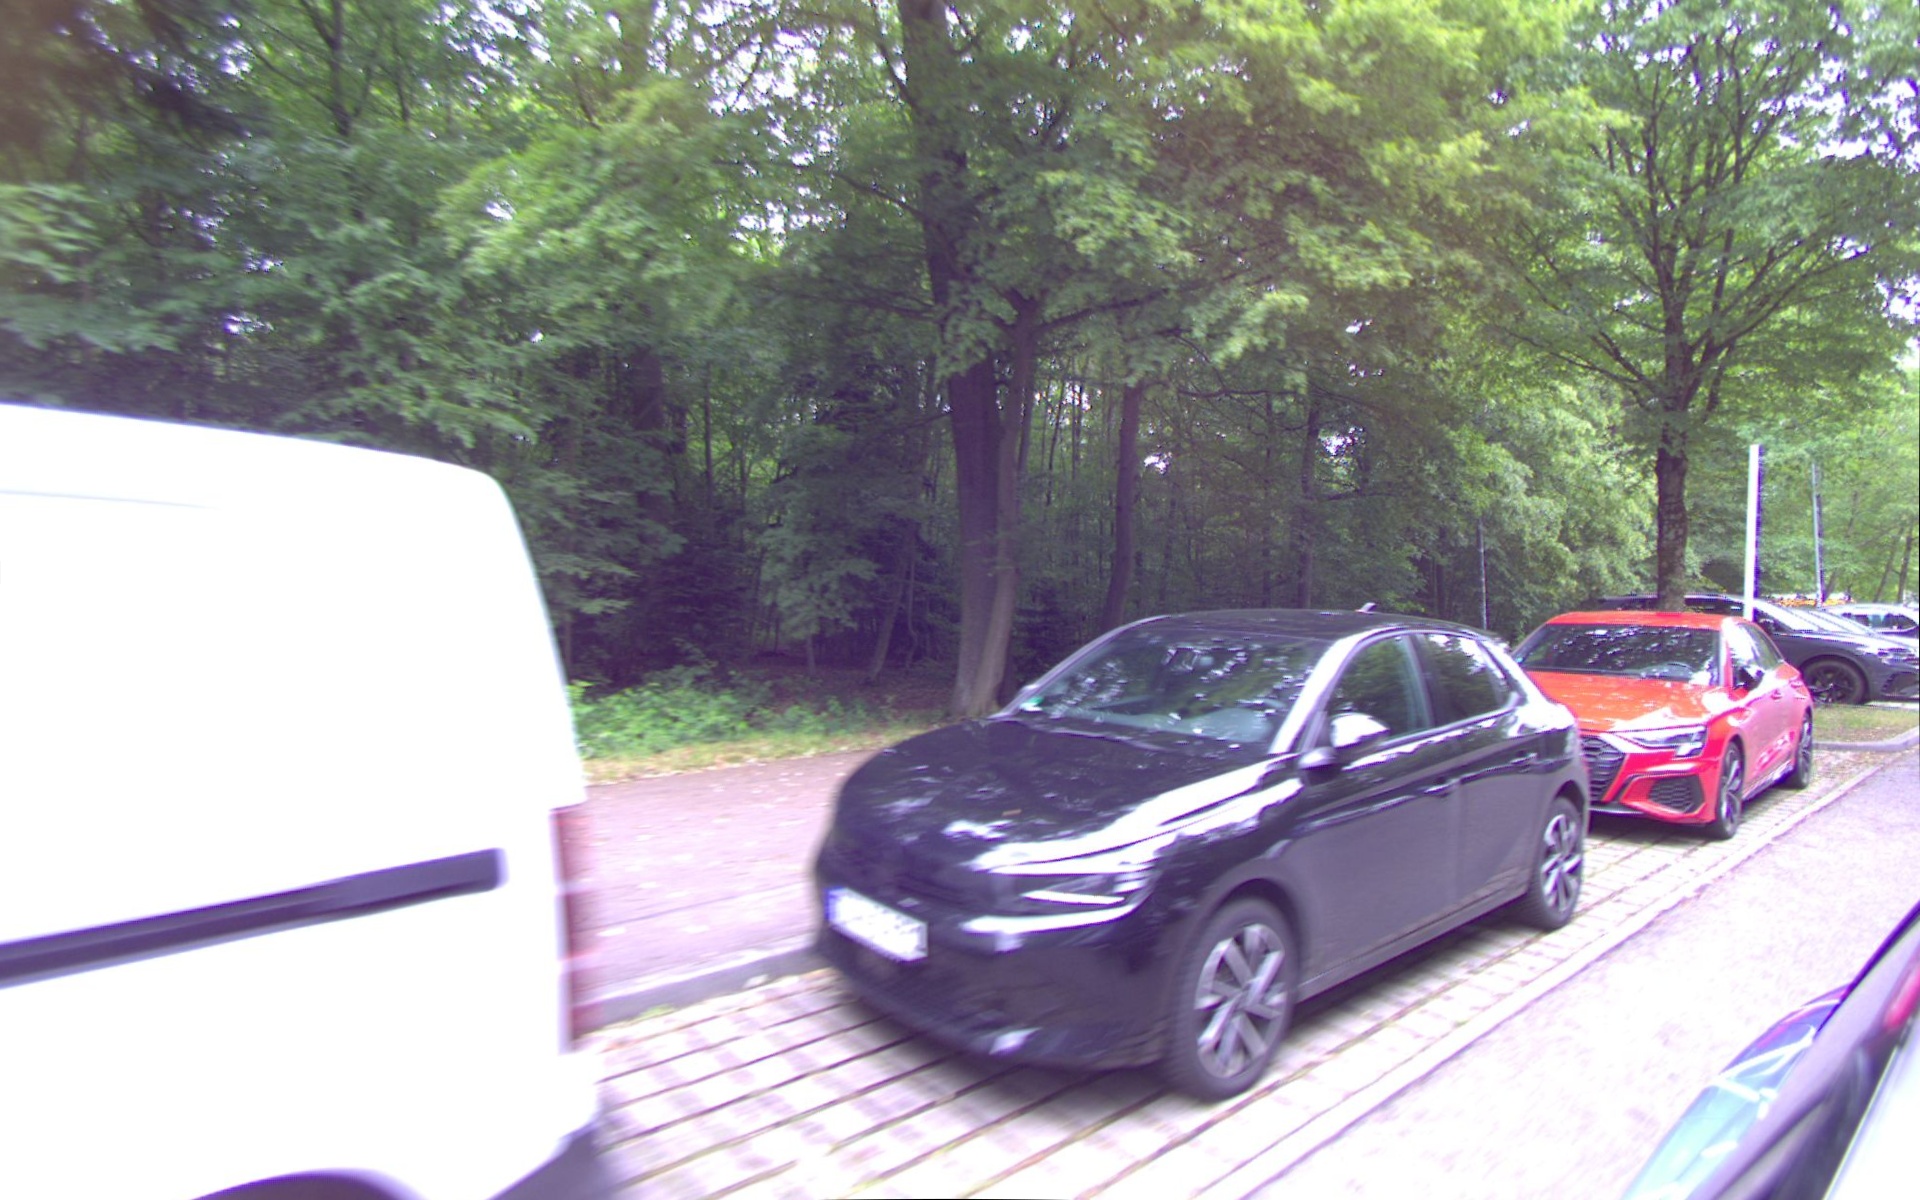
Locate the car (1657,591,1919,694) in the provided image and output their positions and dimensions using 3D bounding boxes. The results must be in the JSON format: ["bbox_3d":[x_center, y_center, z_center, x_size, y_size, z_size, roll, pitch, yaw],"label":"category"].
[{"bbox_3d":[14.407,0.645,17.118,1.942,1.571,3.991,0,0,-43],"label":"car"}]

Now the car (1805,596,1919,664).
[{"bbox_3d":[22.361,0.679,23.280,1.858,1.531,4.198,1,-1,-37],"label":"car"}]

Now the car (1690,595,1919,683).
[{"bbox_3d":[16.320,0.674,18.889,1.916,1.494,3.998,0,0,-36],"label":"car"}]

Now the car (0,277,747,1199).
[{"bbox_3d":[-2.615,0.520,0.994,4.475,1.803,1.746,0,0,-43],"label":"car"}]

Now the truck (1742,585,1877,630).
[{"bbox_3d":[71.431,0.632,85.316,2.809,3.559,8.259,1,-1,-27],"label":"truck"}]

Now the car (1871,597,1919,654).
[{"bbox_3d":[26.415,0.673,26.164,1.849,1.503,3.987,1,-1,-37],"label":"car"}]

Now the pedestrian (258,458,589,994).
[{"bbox_3d":[-2.085,0.409,3.938,0.986,1.748,0.819,0,-1,-41],"label":"pedestrian"}]

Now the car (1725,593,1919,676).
[{"bbox_3d":[18.288,0.644,20.726,1.816,1.550,3.838,0,1,-37],"label":"car"}]

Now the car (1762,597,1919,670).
[{"bbox_3d":[20.086,0.688,21.990,1.775,1.475,3.839,0,1,-36],"label":"car"}]

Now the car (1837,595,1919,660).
[{"bbox_3d":[24.358,0.671,24.760,1.939,1.579,4.023,1,-1,-33],"label":"car"}]

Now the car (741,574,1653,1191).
[{"bbox_3d":[1.349,0.662,4.407,4.208,1.441,1.728,0,0,-41],"label":"car"}]

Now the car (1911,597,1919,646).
[{"bbox_3d":[30.063,0.640,29.111,1.838,1.459,3.800,1,-1,-41],"label":"car"}]

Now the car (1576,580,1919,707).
[{"bbox_3d":[12.294,0.581,15.719,1.922,1.687,4.276,0,0,-38],"label":"car"}]

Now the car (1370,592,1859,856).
[{"bbox_3d":[5.455,0.709,8.126,4.884,1.498,1.997,0,0,-41],"label":"car"}]
